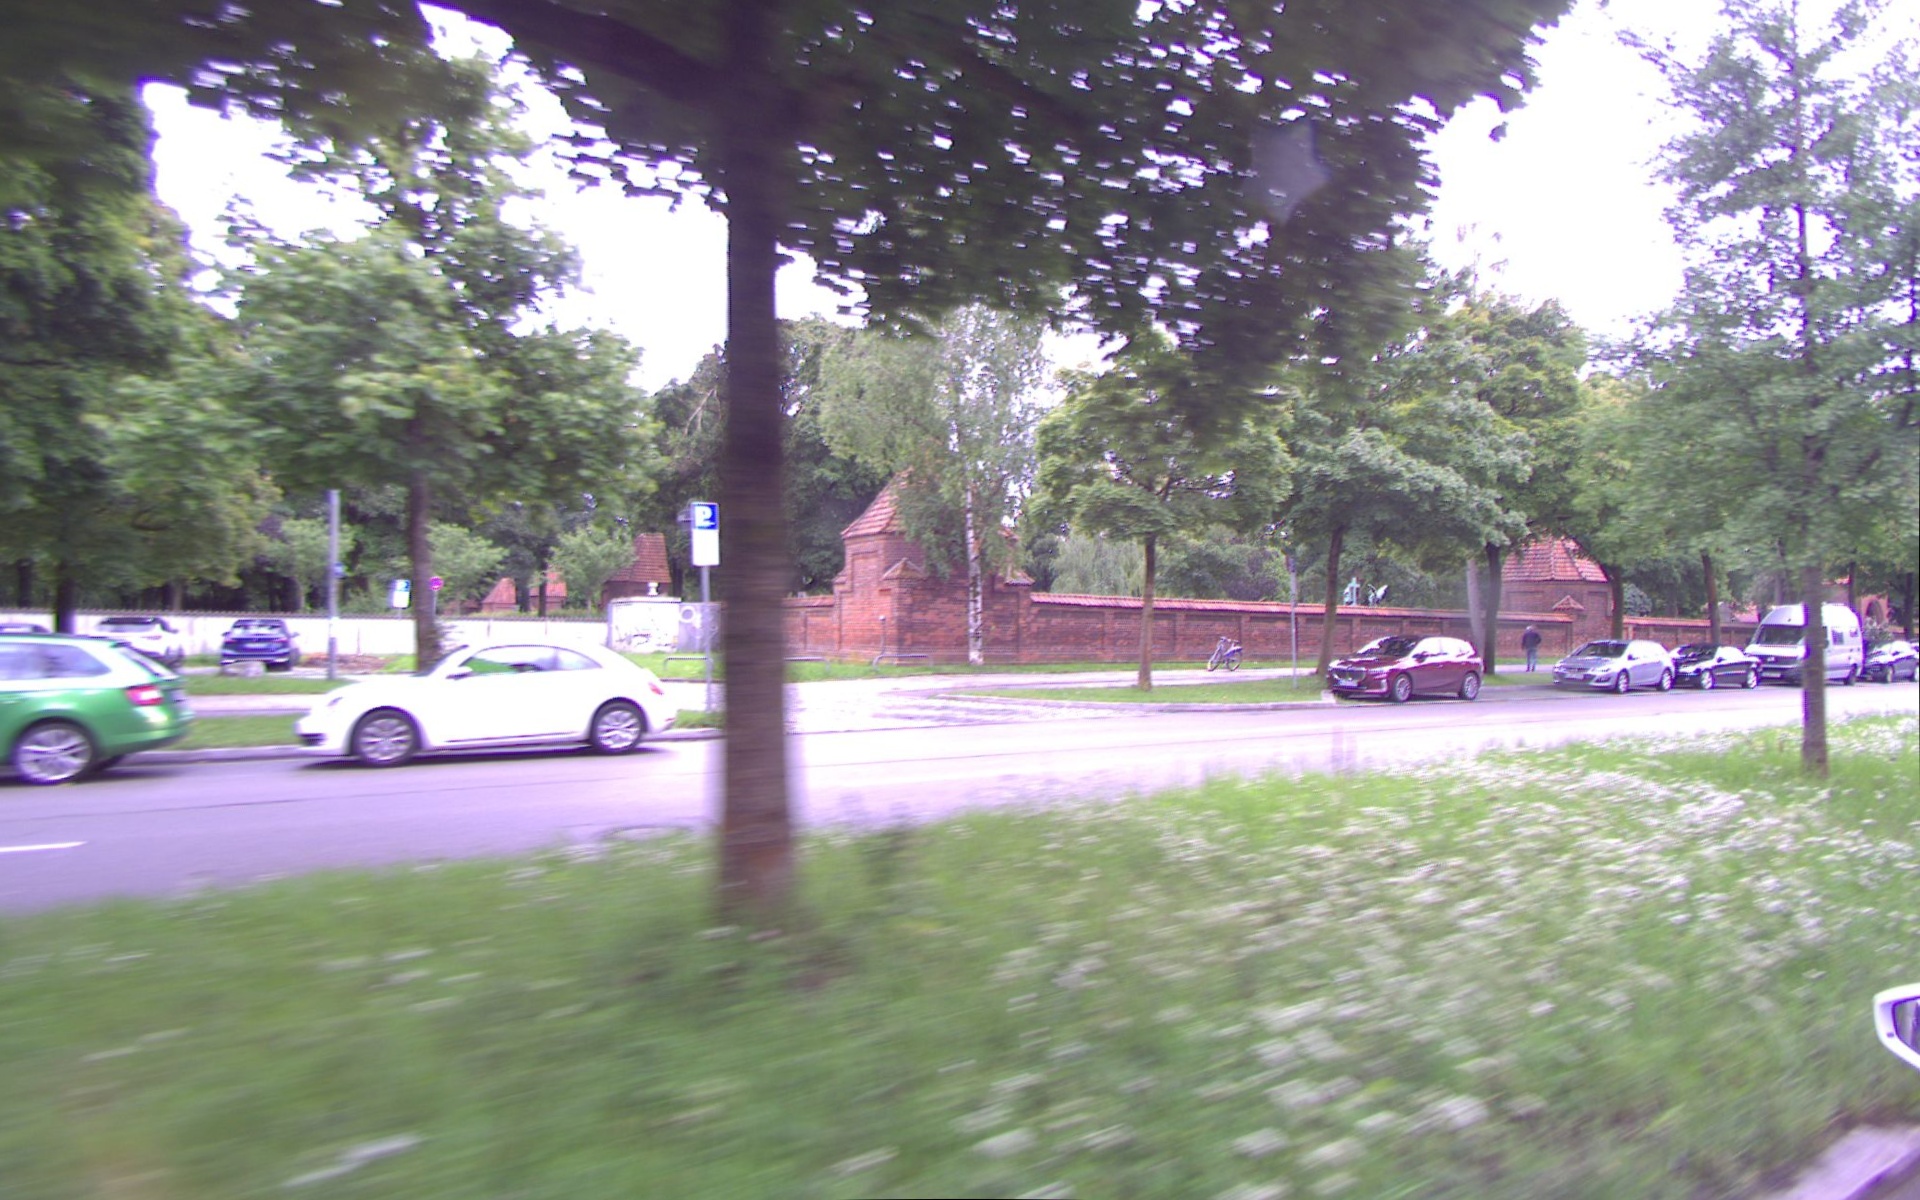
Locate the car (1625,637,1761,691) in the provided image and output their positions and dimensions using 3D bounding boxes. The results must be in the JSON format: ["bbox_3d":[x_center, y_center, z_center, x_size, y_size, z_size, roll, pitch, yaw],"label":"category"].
[{"bbox_3d":[23.446,1.994,32.079,4.764,1.557,1.804,1,-1,-31],"label":"car"}]

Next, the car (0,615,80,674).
[{"bbox_3d":[-27.657,1.267,29.618,1.794,1.557,3.968,1,0,-30],"label":"car"}]

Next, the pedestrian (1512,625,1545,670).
[{"bbox_3d":[20.363,1.697,36.000,0.778,1.588,0.777,0,-1,7],"label":"pedestrian"}]

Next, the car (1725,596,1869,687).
[{"bbox_3d":[29.671,1.439,35.543,6.124,2.993,2.173,1,-1,-33],"label":"car"}]

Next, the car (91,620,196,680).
[{"bbox_3d":[-24.384,1.435,30.147,1.794,1.557,3.968,1,0,-30],"label":"car"}]

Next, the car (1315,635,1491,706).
[{"bbox_3d":[10.789,1.654,24.376,4.249,1.557,1.804,1,-1,-31],"label":"car"}]

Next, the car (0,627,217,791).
[{"bbox_3d":[-10.136,1.076,9.938,4.264,1.557,1.631,1,-4,-30],"label":"car"}]

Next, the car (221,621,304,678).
[{"bbox_3d":[-22.004,1.519,31.821,1.794,1.557,3.968,1,0,-30],"label":"car"}]

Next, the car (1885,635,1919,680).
[{"bbox_3d":[40.045,2.350,41.087,4.528,1.759,2.173,1,-1,-33],"label":"car"}]

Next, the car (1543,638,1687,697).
[{"bbox_3d":[19.148,1.932,29.313,4.390,1.557,1.804,1,-1,-31],"label":"car"}]

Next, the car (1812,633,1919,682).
[{"bbox_3d":[35.416,2.205,39.115,4.528,1.759,2.173,1,-1,-33],"label":"car"}]

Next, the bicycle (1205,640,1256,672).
[{"bbox_3d":[8.512,1.750,31.622,1.602,0.949,0.651,2,-1,-33],"label":"bicycle"}]

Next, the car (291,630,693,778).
[{"bbox_3d":[-5.681,1.198,12.516,4.264,1.557,1.753,1,-4,-30],"label":"car"}]
